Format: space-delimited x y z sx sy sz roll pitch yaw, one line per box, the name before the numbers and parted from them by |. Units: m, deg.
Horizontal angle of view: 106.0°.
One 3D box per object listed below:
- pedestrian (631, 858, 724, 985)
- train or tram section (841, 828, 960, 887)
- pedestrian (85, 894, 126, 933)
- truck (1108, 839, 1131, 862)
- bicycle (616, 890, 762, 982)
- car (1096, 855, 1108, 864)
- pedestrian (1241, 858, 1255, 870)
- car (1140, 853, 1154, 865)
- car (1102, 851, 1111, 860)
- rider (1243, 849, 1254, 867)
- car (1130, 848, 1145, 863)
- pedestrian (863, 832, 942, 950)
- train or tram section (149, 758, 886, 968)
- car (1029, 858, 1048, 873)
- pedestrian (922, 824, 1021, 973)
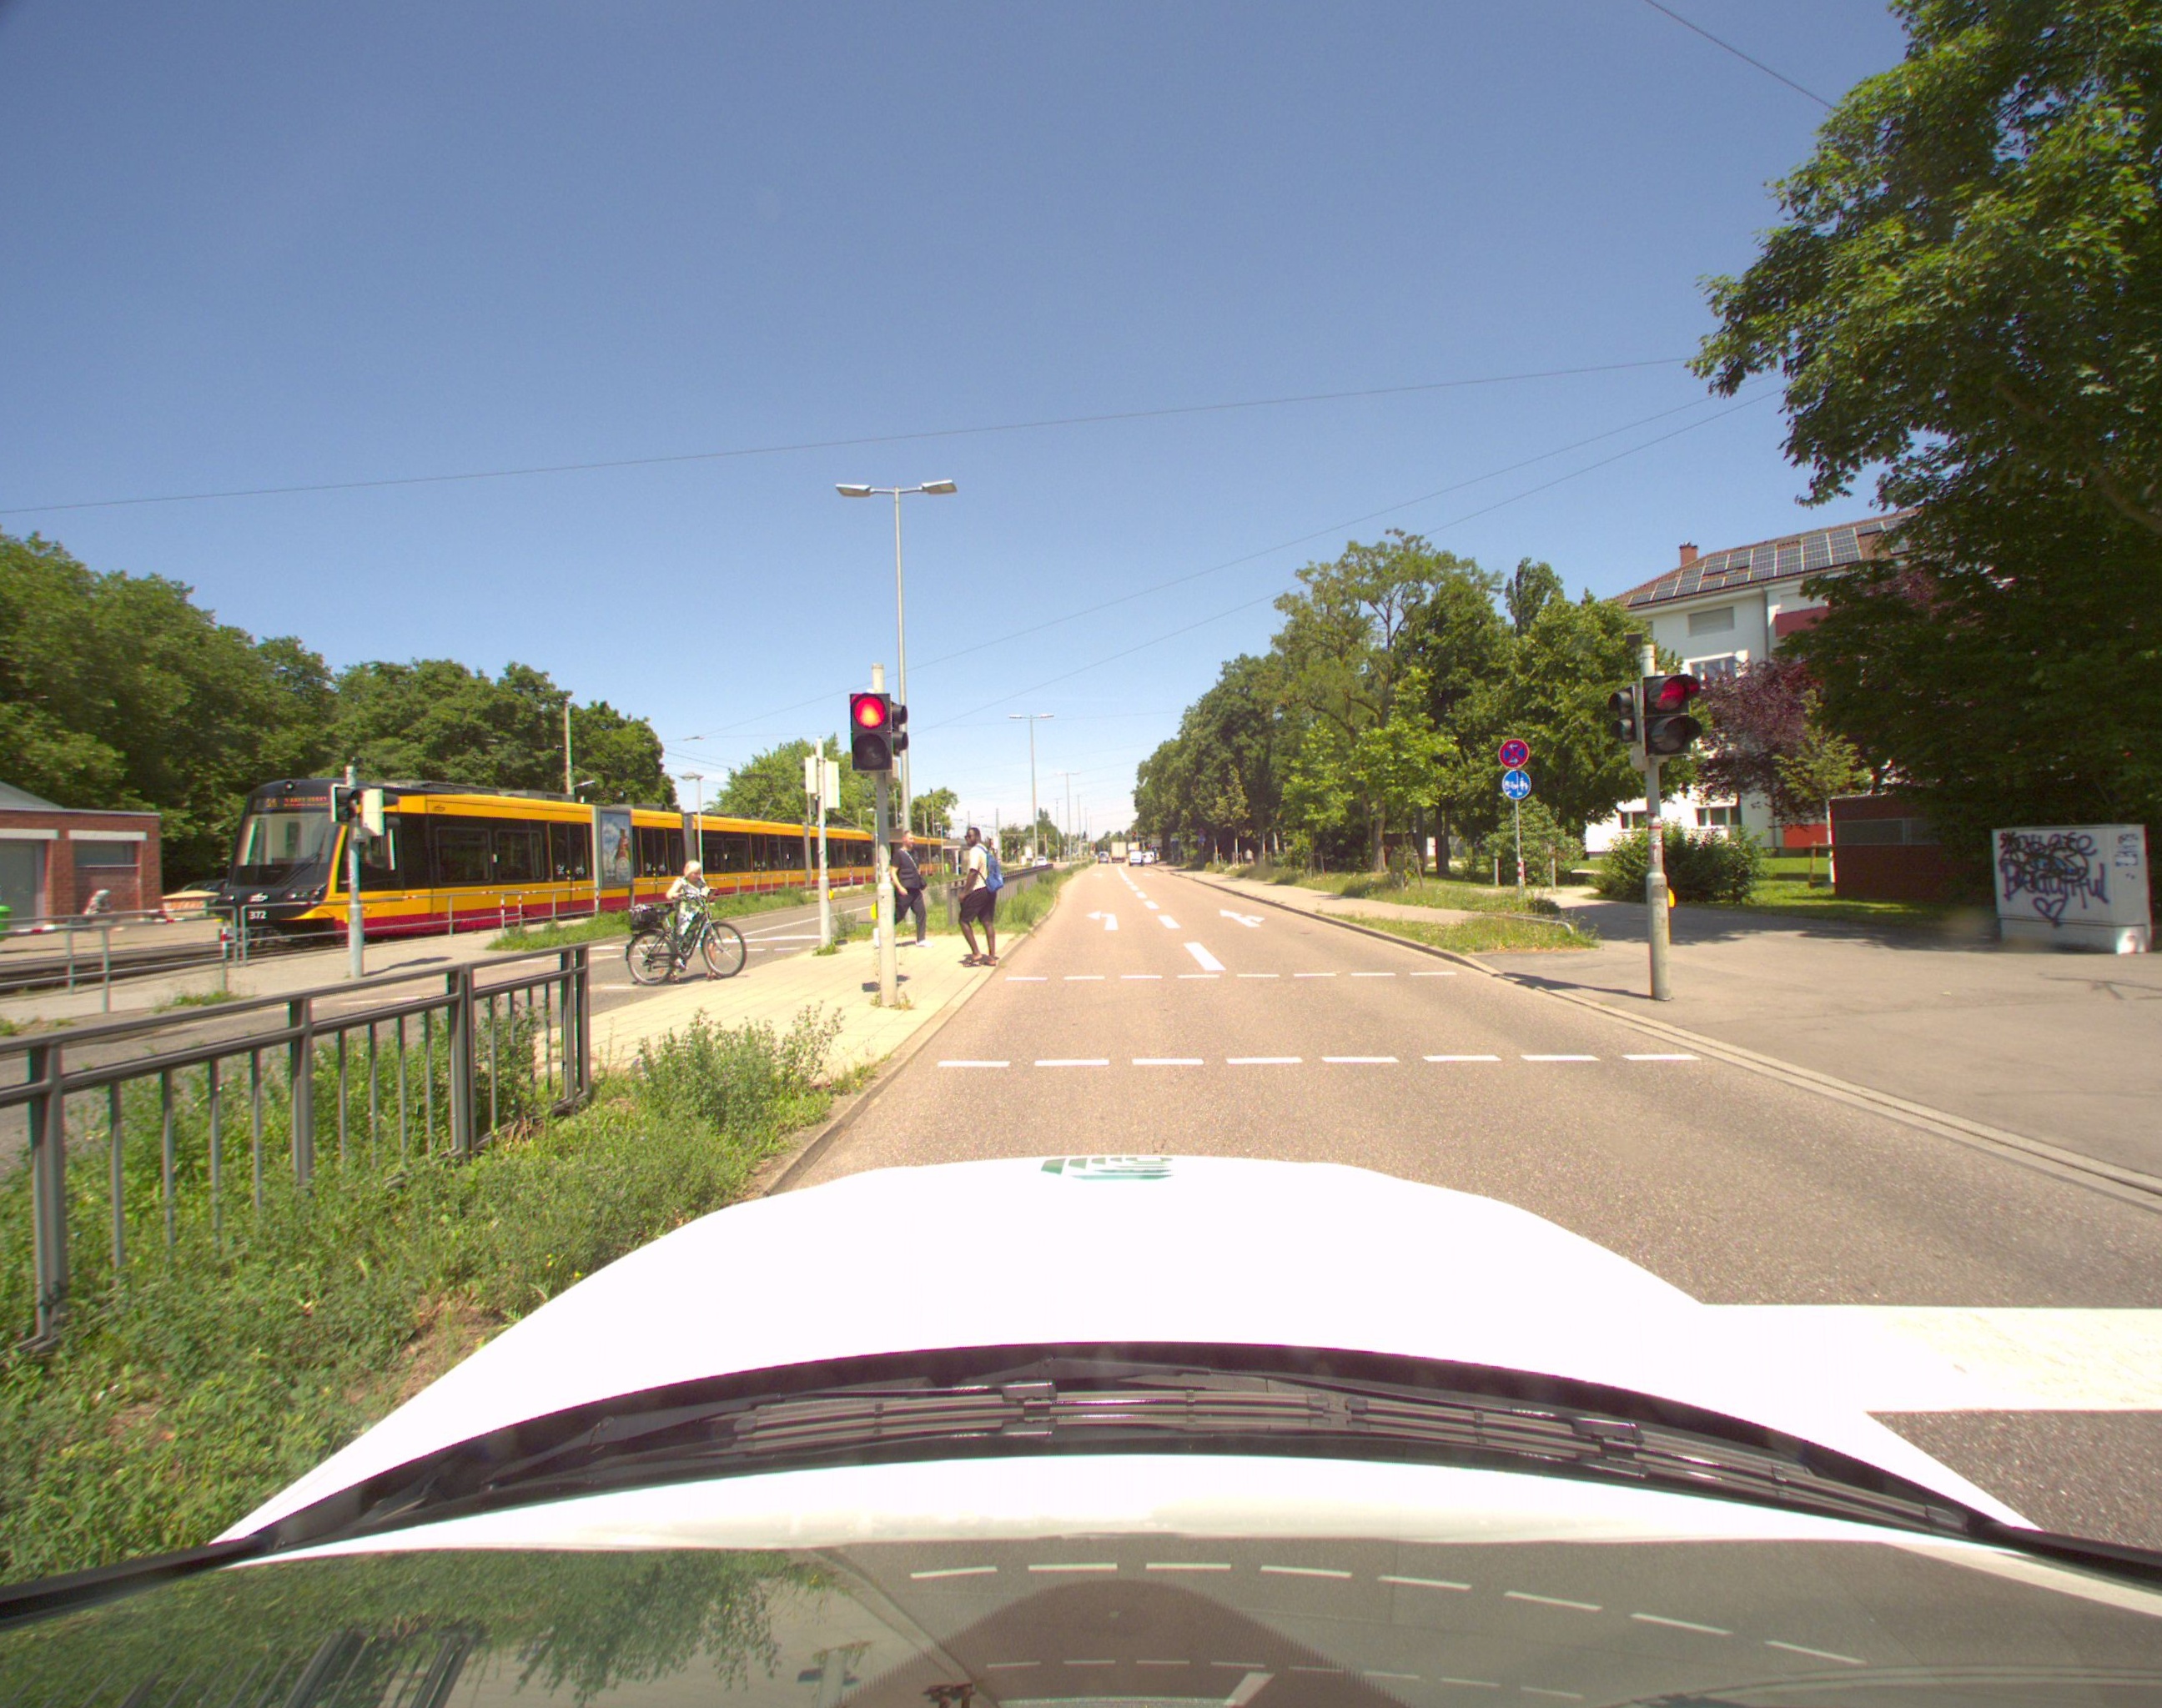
pedestrian | -5.361 0.879 10.854 0.814 1.628 0.707 -1 0 7
train or tram section | -13.462 0.249 64.987 2.777 3.668 26.010 -1 0 2
pedestrian | -26.886 1.644 22.440 0.479 1.018 0.523 -2 0 4
truck | 6.859 -0.607 147.987 3.884 3.813 10.797 -2 0 2
bicycle | -5.132 1.079 10.666 1.853 1.157 0.243 -1 0 7
car | 3.496 0.929 133.887 1.794 1.486 4.003 -2 0 3
pedestrian | 11.983 0.689 58.376 0.675 0.847 1.774 -1 0 2
car | 9.065 0.681 112.513 1.796 1.540 4.002 -1 0 2
car | 5.194 0.274 164.628 1.681 1.897 3.872 -2 0 2
rider | 11.981 0.314 58.334 0.675 1.281 0.534 -1 0 1
car | 7.132 0.228 102.352 1.718 1.814 4.008 -1 0 7
pedestrian | -2.829 0.568 12.915 0.949 1.797 0.710 -2 -1 31
train or tram section | -14.542 0.190 33.245 2.777 3.668 37.534 -1 0 2
car | -5.182 1.392 99.207 1.986 1.650 4.002 -2 0 2
pedestrian | -1.414 0.562 10.611 1.038 1.850 0.760 -1 -1 16
